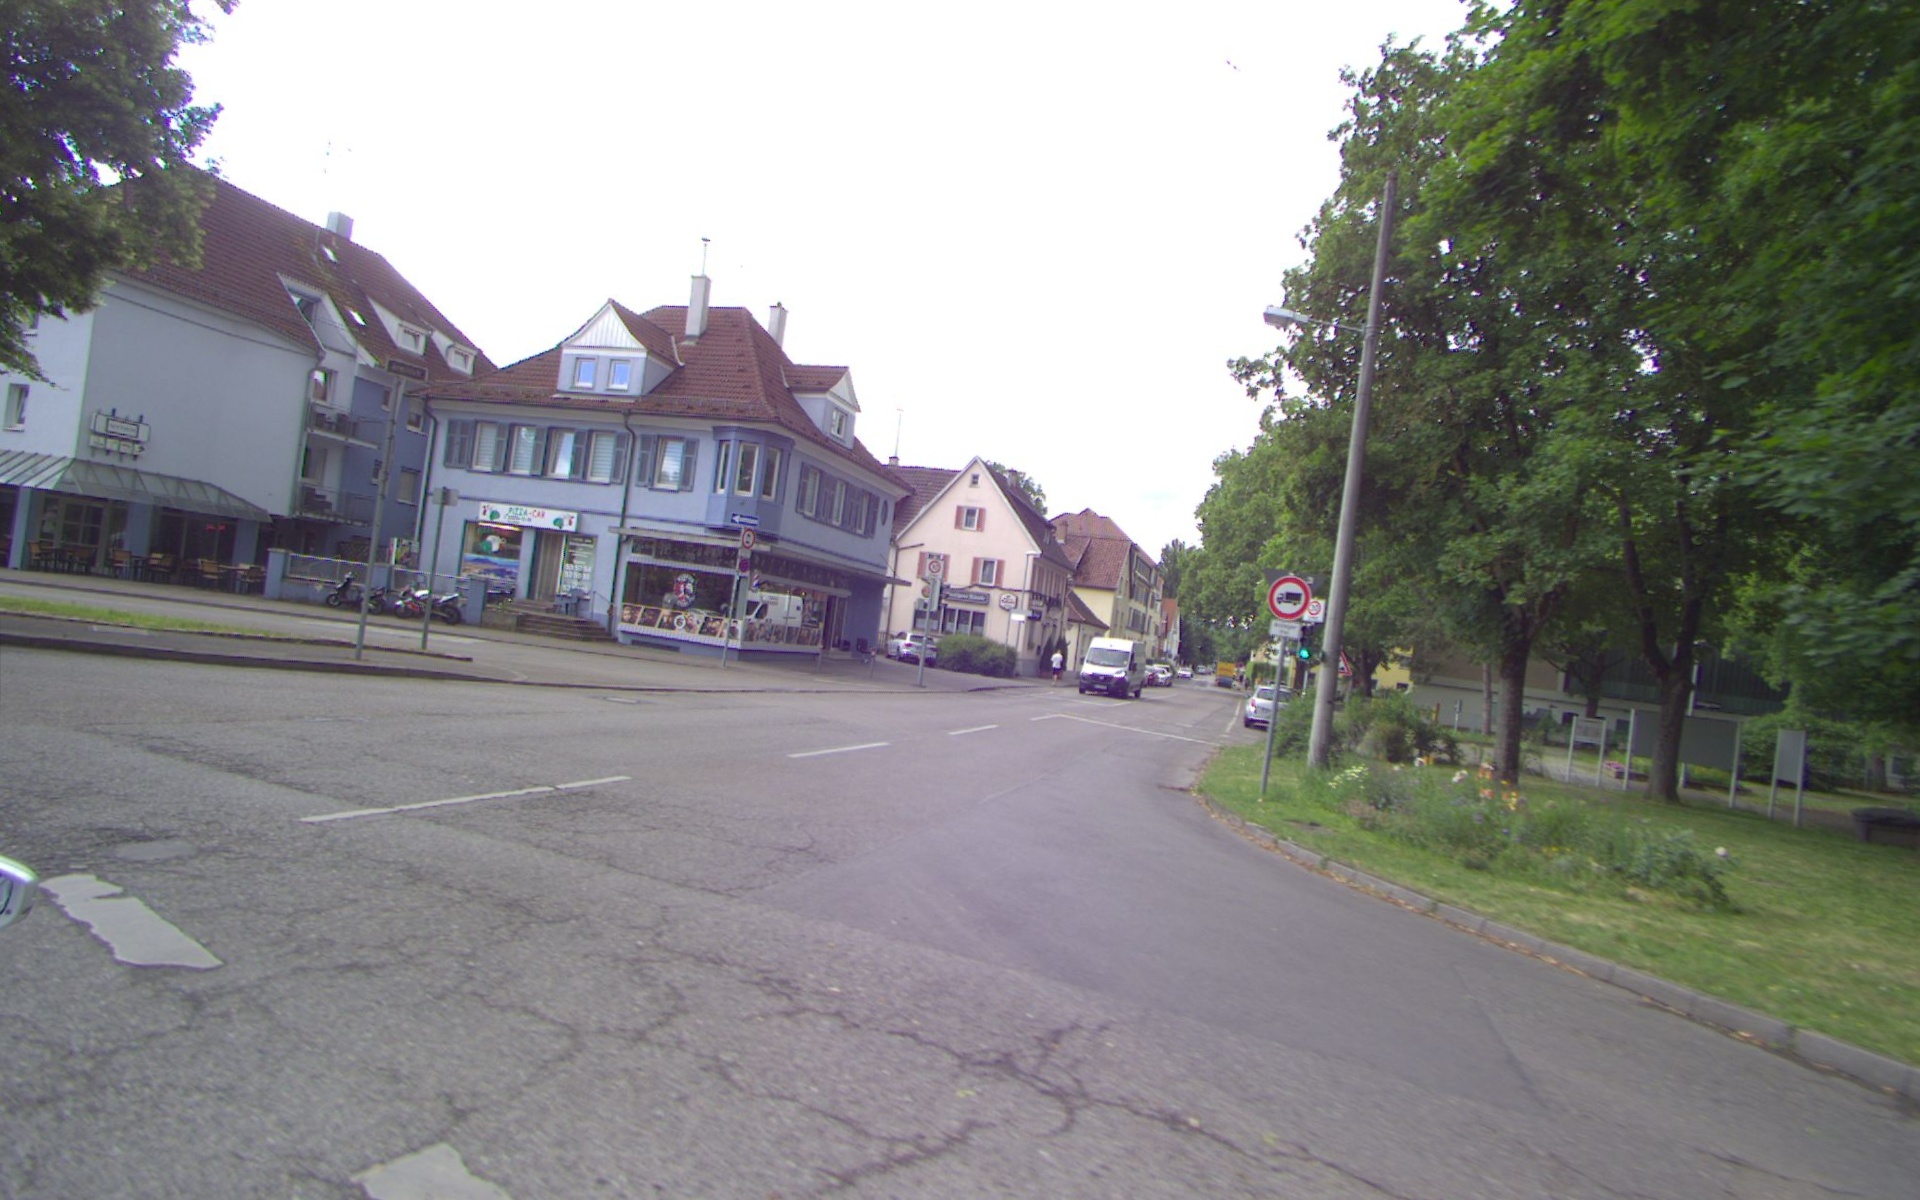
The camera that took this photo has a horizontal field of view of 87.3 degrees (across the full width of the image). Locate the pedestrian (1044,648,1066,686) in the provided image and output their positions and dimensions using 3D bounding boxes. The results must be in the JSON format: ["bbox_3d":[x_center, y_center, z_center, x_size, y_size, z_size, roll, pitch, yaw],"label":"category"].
[{"bbox_3d":[4.480,3.150,47.371,0.743,1.717,0.647,7,-1,15],"label":"pedestrian"}]

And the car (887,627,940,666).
[{"bbox_3d":[-2.190,2.117,46.597,1.547,1.479,3.430,8,-2,-15],"label":"car"}]

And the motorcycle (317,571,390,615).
[{"bbox_3d":[-17.530,-0.197,29.088,1.694,1.044,0.489,7,0,-3],"label":"motorcycle"}]

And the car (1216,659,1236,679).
[{"bbox_3d":[31.142,8.081,117.798,1.962,2.037,4.004,7,-2,16],"label":"car"}]

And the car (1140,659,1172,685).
[{"bbox_3d":[15.073,5.521,77.106,1.902,1.748,3.784,7,-2,16],"label":"car"}]

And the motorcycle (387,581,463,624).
[{"bbox_3d":[-15.345,0.072,28.874,1.790,0.997,0.522,7,-1,-3],"label":"motorcycle"}]

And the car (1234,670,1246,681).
[{"bbox_3d":[52.734,14.213,189.367,1.962,1.637,4.003,7,-2,19],"label":"car"}]

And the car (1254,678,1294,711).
[{"bbox_3d":[17.475,5.209,55.915,1.889,1.473,4.405,6,-2,18],"label":"car"}]

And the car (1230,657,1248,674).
[{"bbox_3d":[37.698,8.880,135.995,1.962,2.037,4.004,7,-2,15],"label":"car"}]

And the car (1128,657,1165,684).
[{"bbox_3d":[13.326,5.026,71.704,1.962,1.681,4.003,7,-2,18],"label":"car"}]

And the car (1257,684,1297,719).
[{"bbox_3d":[15.862,5.038,50.270,1.707,1.406,3.744,6,-2,18],"label":"car"}]

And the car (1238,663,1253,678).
[{"bbox_3d":[43.655,10.735,154.045,1.962,1.970,4.004,7,-2,15],"label":"car"}]

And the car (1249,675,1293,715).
[{"bbox_3d":[14.223,4.288,45.826,1.680,1.504,3.762,6,-1,19],"label":"car"}]

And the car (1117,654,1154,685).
[{"bbox_3d":[11.624,4.617,66.466,1.902,1.748,3.784,7,-2,16],"label":"car"}]

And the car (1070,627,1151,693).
[{"bbox_3d":[6.652,2.644,43.762,2.292,2.420,5.963,6,-2,18],"label":"car"}]

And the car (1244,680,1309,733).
[{"bbox_3d":[11.072,3.651,35.142,1.865,1.473,4.550,6,-2,18],"label":"car"}]
